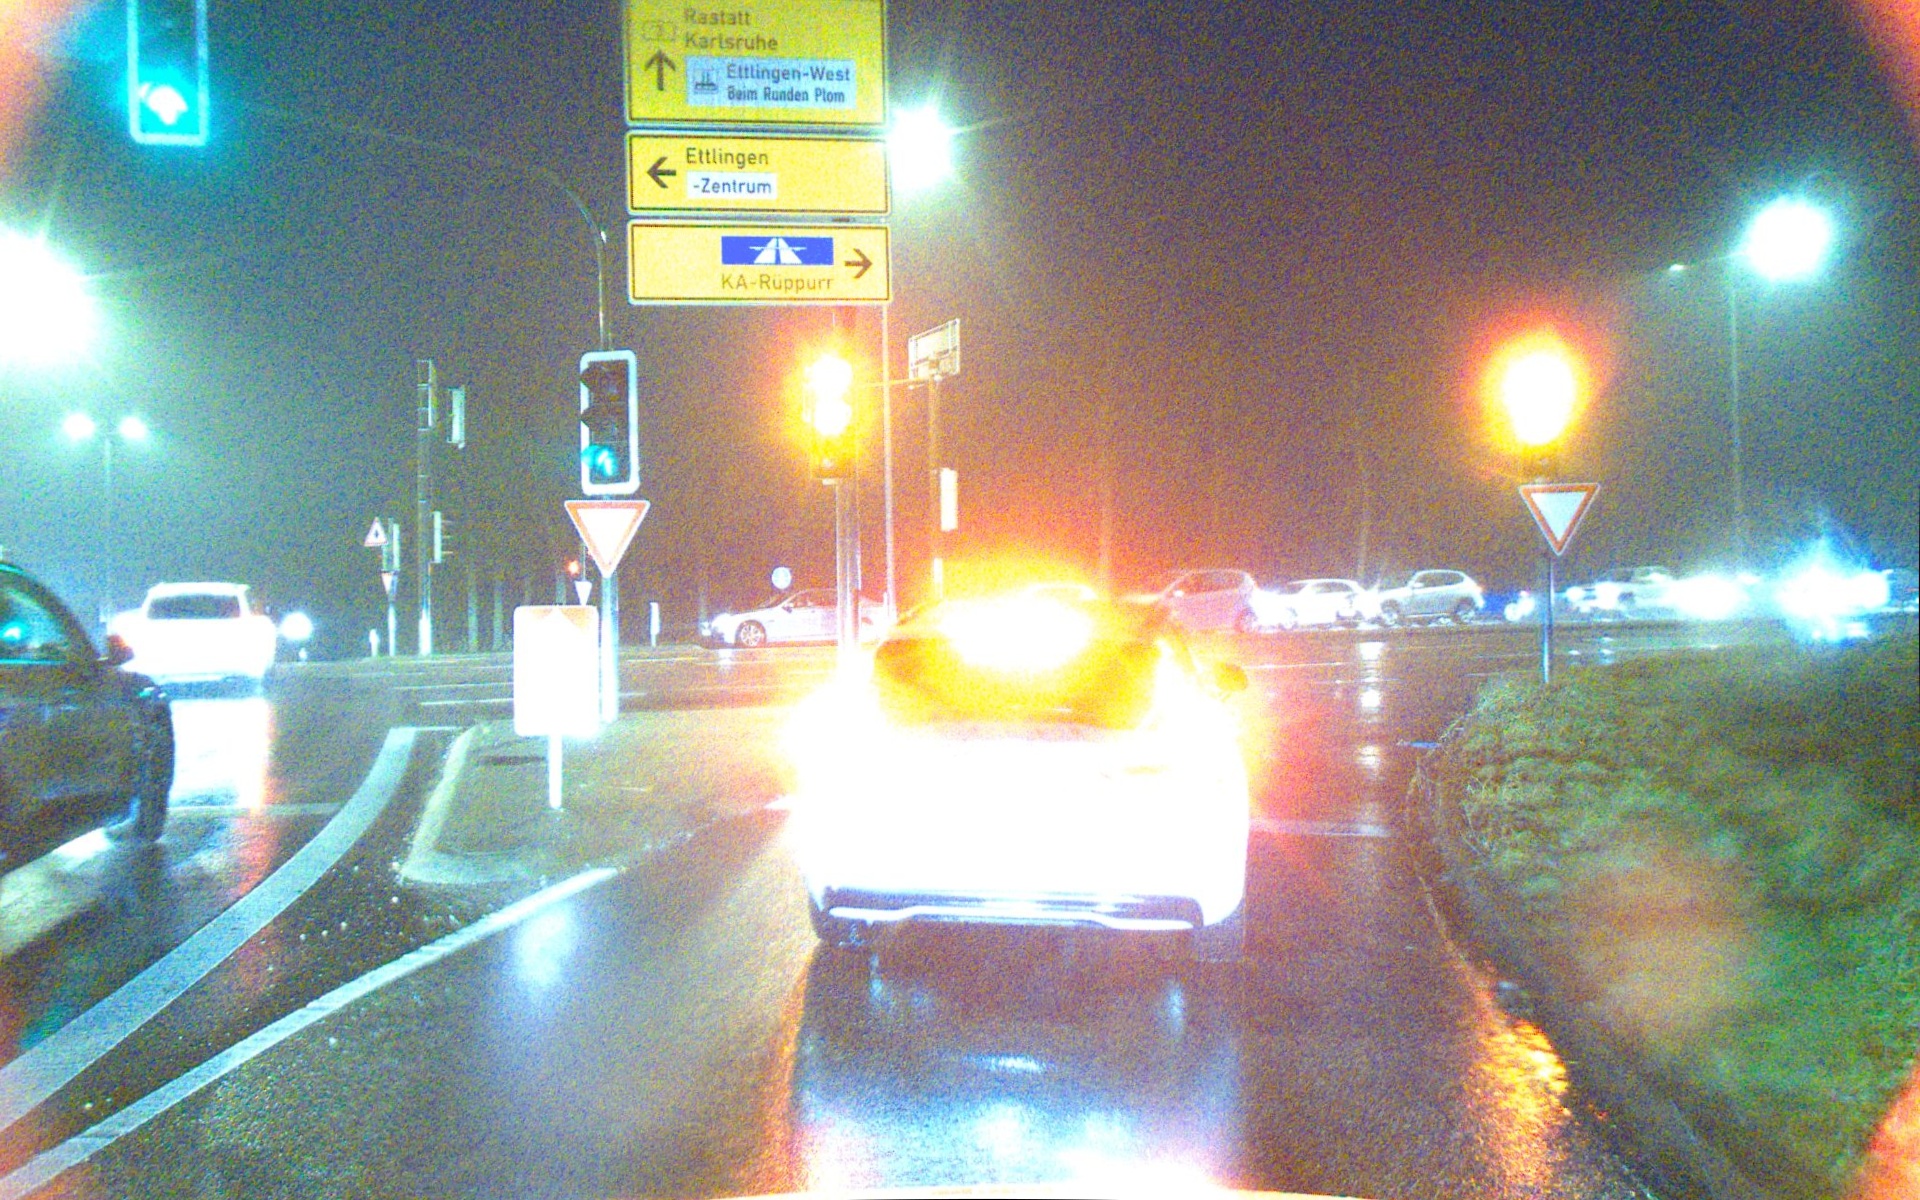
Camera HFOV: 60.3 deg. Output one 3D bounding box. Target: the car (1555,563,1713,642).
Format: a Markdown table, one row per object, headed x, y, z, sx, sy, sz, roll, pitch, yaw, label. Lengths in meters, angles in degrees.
| x | y | z | sx | sy | sz | roll | pitch | yaw | label |
| --- | --- | --- | --- | --- | --- | --- | --- | --- | --- |
| 24.341 | 0.106 | 59.696 | 5.524 | 2.757 | 2.237 | 1 | -1 | -27 | car |

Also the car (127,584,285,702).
| x | y | z | sx | sy | sz | roll | pitch | yaw | label |
| --- | --- | --- | --- | --- | --- | --- | --- | --- | --- |
| -10.464 | 0.559 | 23.188 | 1.674 | 1.489 | 4.288 | 0 | 0 | -20 | car |

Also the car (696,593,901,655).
| x | y | z | sx | sy | sz | roll | pitch | yaw | label |
| --- | --- | --- | --- | --- | --- | --- | --- | --- | --- |
| -3.942 | 0.585 | 40.664 | 4.730 | 1.452 | 1.750 | 1 | -1 | -27 | car |

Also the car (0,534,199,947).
| x | y | z | sx | sy | sz | roll | pitch | yaw | label |
| --- | --- | --- | --- | --- | --- | --- | --- | --- | --- |
| -4.985 | 0.543 | 7.523 | 1.796 | 1.682 | 4.466 | 1 | 1 | -12 | car |

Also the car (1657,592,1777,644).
| x | y | z | sx | sy | sz | roll | pitch | yaw | label |
| --- | --- | --- | --- | --- | --- | --- | --- | --- | --- |
| 26.435 | 0.631 | 57.726 | 4.064 | 1.744 | 1.749 | 1 | -1 | -28 | car |

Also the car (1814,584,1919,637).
| x | y | z | sx | sy | sz | roll | pitch | yaw | label |
| --- | --- | --- | --- | --- | --- | --- | --- | --- | --- |
| 30.300 | 0.369 | 54.699 | 3.918 | 1.695 | 1.788 | 1 | -1 | -28 | car |

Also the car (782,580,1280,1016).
| x | y | z | sx | sy | sz | roll | pitch | yaw | label |
| --- | --- | --- | --- | --- | --- | --- | --- | --- | --- |
| 0.555 | 0.656 | 7.937 | 1.758 | 1.477 | 4.272 | 0 | 1 | 9 | car |

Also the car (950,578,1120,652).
| x | y | z | sx | sy | sz | roll | pitch | yaw | label |
| --- | --- | --- | --- | --- | --- | --- | --- | --- | --- |
| 2.003 | 0.412 | 43.739 | 4.221 | 1.880 | 1.749 | 1 | -1 | -28 | car |

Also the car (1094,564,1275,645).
| x | y | z | sx | sy | sz | roll | pitch | yaw | label |
| --- | --- | --- | --- | --- | --- | --- | --- | --- | --- |
| 5.186 | 0.067 | 38.171 | 3.841 | 1.755 | 1.751 | -1 | 1 | -26 | car |

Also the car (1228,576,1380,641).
| x | y | z | sx | sy | sz | roll | pitch | yaw | label |
| --- | --- | --- | --- | --- | --- | --- | --- | --- | --- |
| 10.026 | 0.264 | 48.167 | 4.187 | 1.830 | 1.788 | 1 | -1 | -28 | car |

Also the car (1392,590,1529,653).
| x | y | z | sx | sy | sz | roll | pitch | yaw | label |
| --- | --- | --- | --- | --- | --- | --- | --- | --- | --- |
| 15.500 | 0.675 | 51.187 | 4.064 | 1.880 | 1.749 | 1 | -1 | -28 | car |

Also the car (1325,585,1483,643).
| x | y | z | sx | sy | sz | roll | pitch | yaw | label |
| --- | --- | --- | --- | --- | --- | --- | --- | --- | --- |
| 12.103 | 0.387 | 45.069 | 3.991 | 1.513 | 1.705 | 1 | -1 | -24 | car |

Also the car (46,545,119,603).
| x | y | z | sx | sy | sz | roll | pitch | yaw | label |
| --- | --- | --- | --- | --- | --- | --- | --- | --- | --- |
| -33.509 | -0.953 | 63.269 | 1.748 | 2.115 | 3.979 | 1 | 0 | -18 | car |
